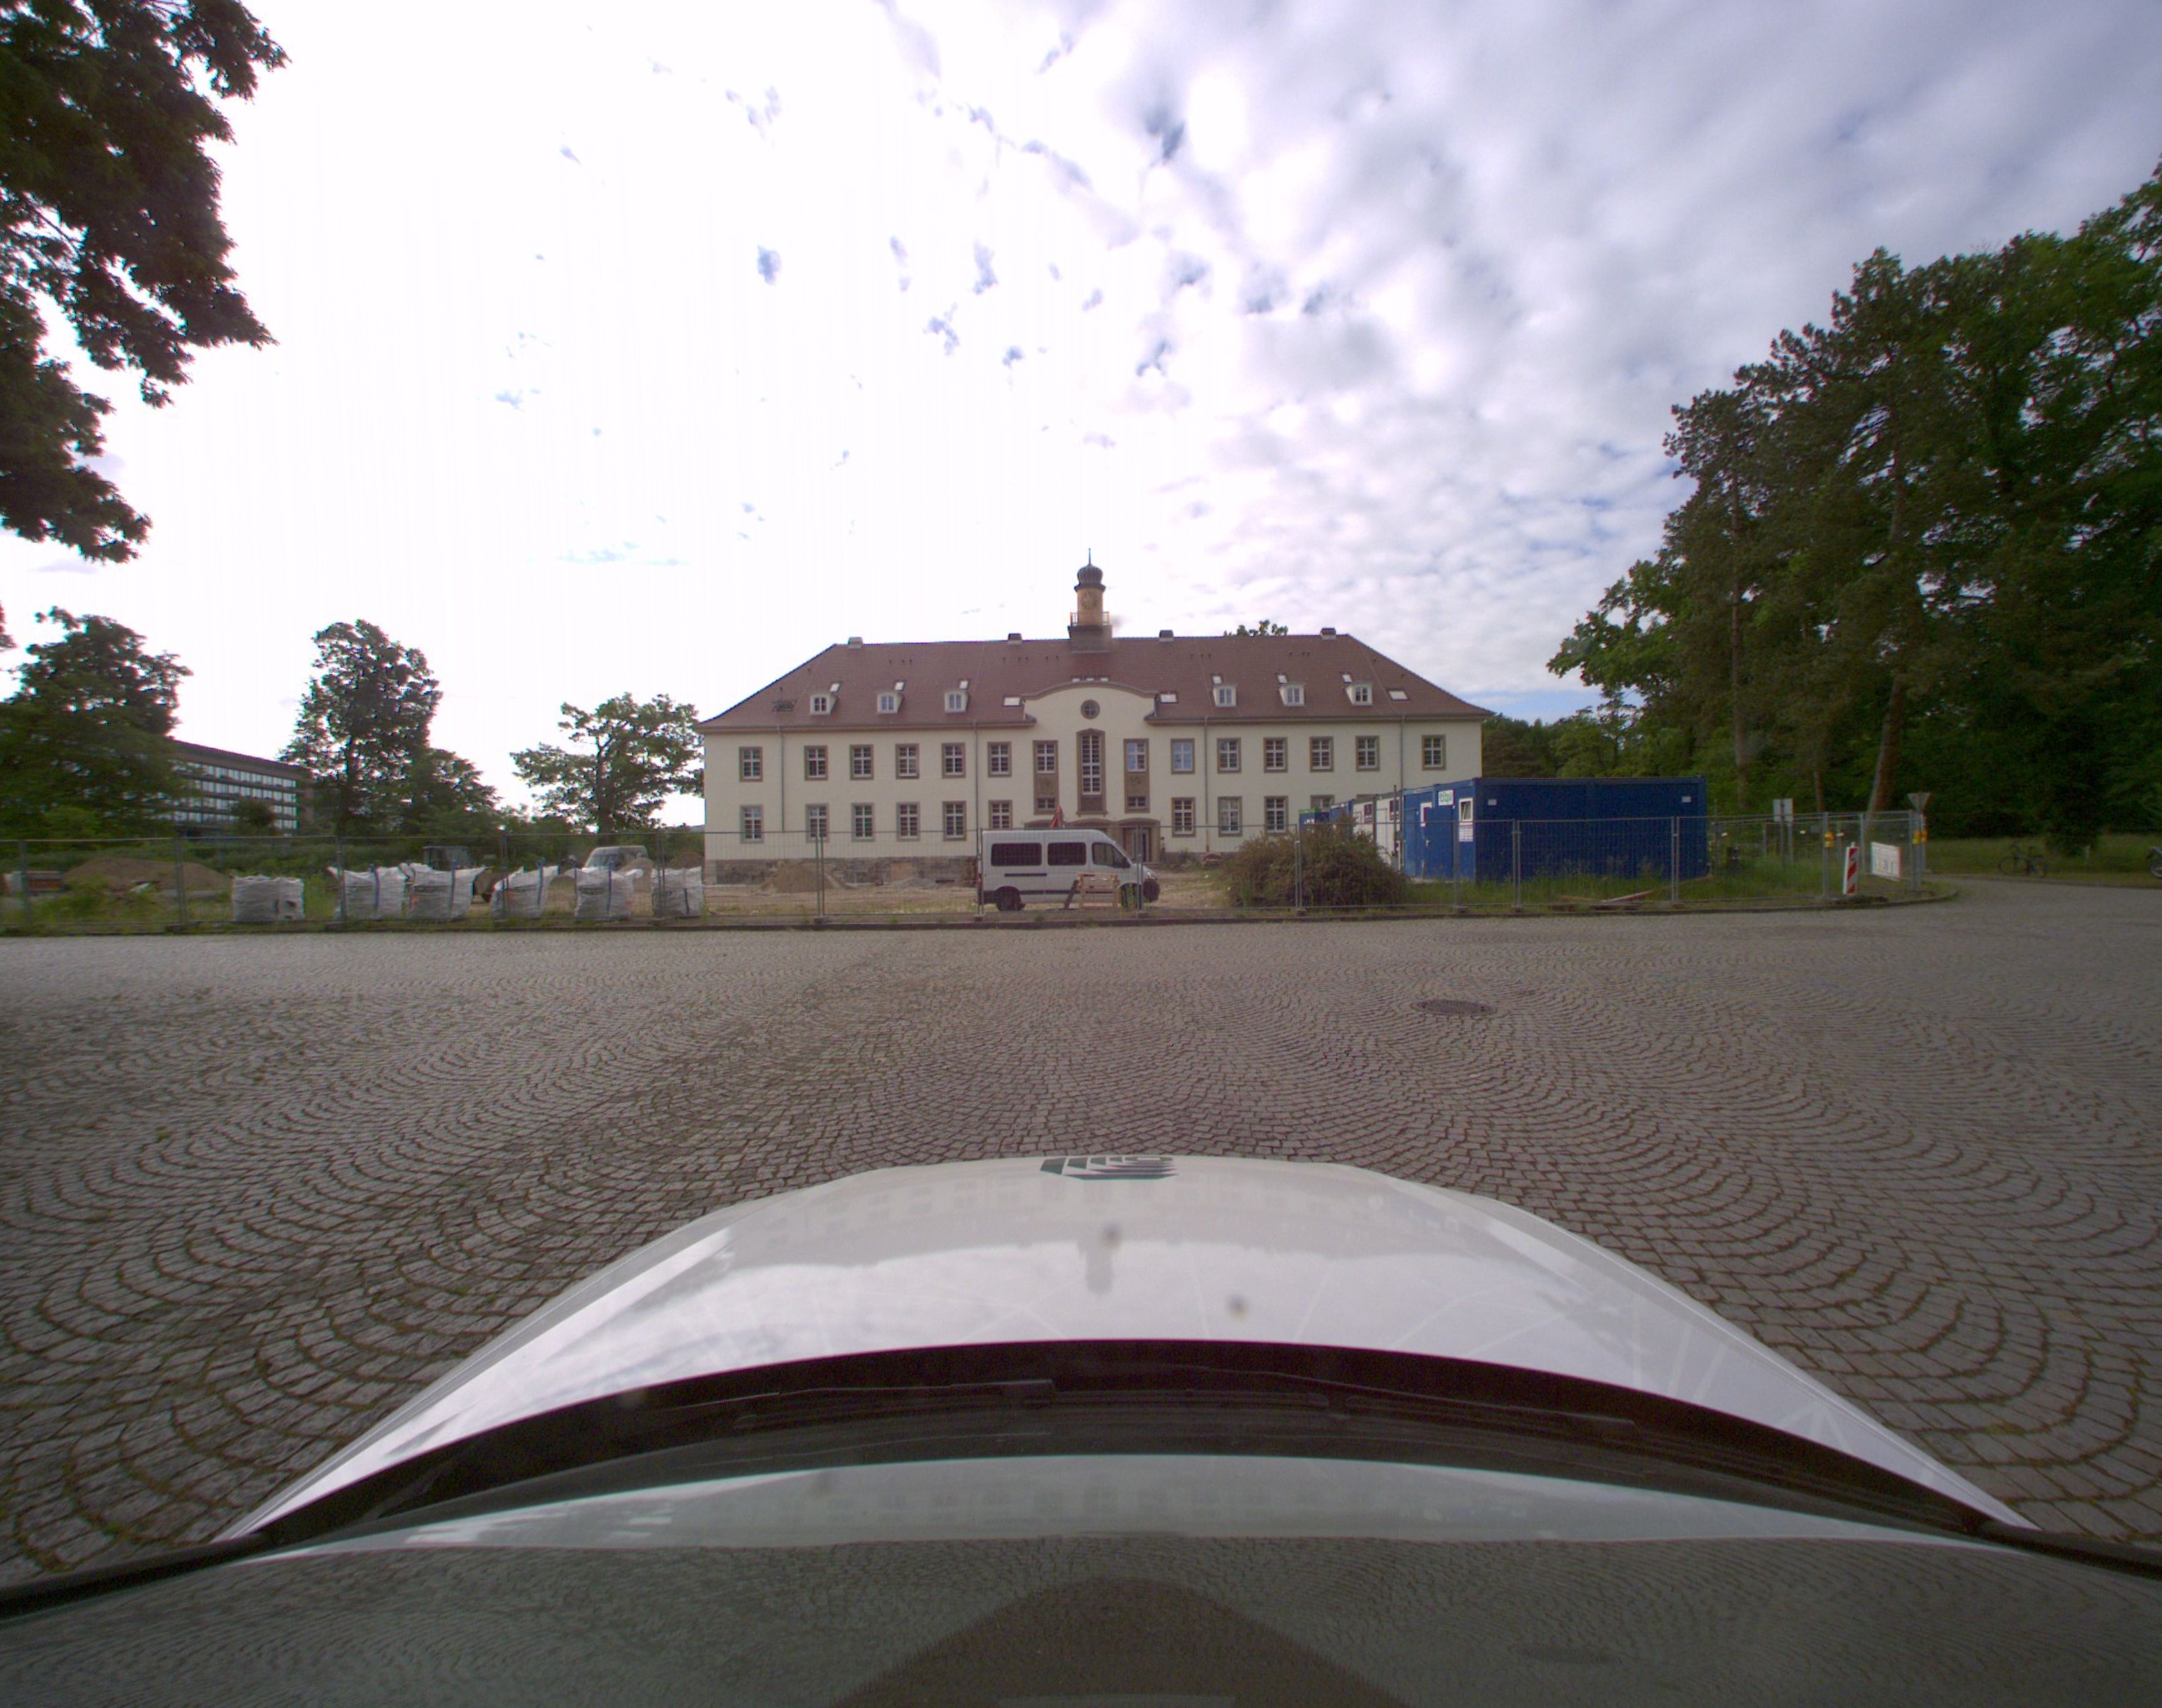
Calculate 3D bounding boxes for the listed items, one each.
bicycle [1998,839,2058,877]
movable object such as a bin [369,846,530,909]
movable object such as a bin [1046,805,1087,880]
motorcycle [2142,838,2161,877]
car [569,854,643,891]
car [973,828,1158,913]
[{"bbox_3d":[30.283,0.131,26.066,0.508,1.167,1.815,-1,0,24],"label":"bicycle"},{"bbox_3d":[-27.200,0.992,35.214,5.313,2.556,1.999,-1,0,-1],"label":"movable object such as a bin"},{"bbox_3d":[-0.834,-0.592,43.901,1.989,3.771,5.313,-1,0,-2],"label":"movable object such as a bin"},{"bbox_3d":[33.047,0.118,24.162,0.515,1.164,1.962,-1,1,-4],"label":"motorcycle"},{"bbox_3d":[-29.599,1.114,50.968,2.064,2.150,4.890,-1,0,-5],"label":"car"},{"bbox_3d":[-0.408,0.473,24.225,5.242,2.344,1.911,-1,0,2],"label":"car"}]
